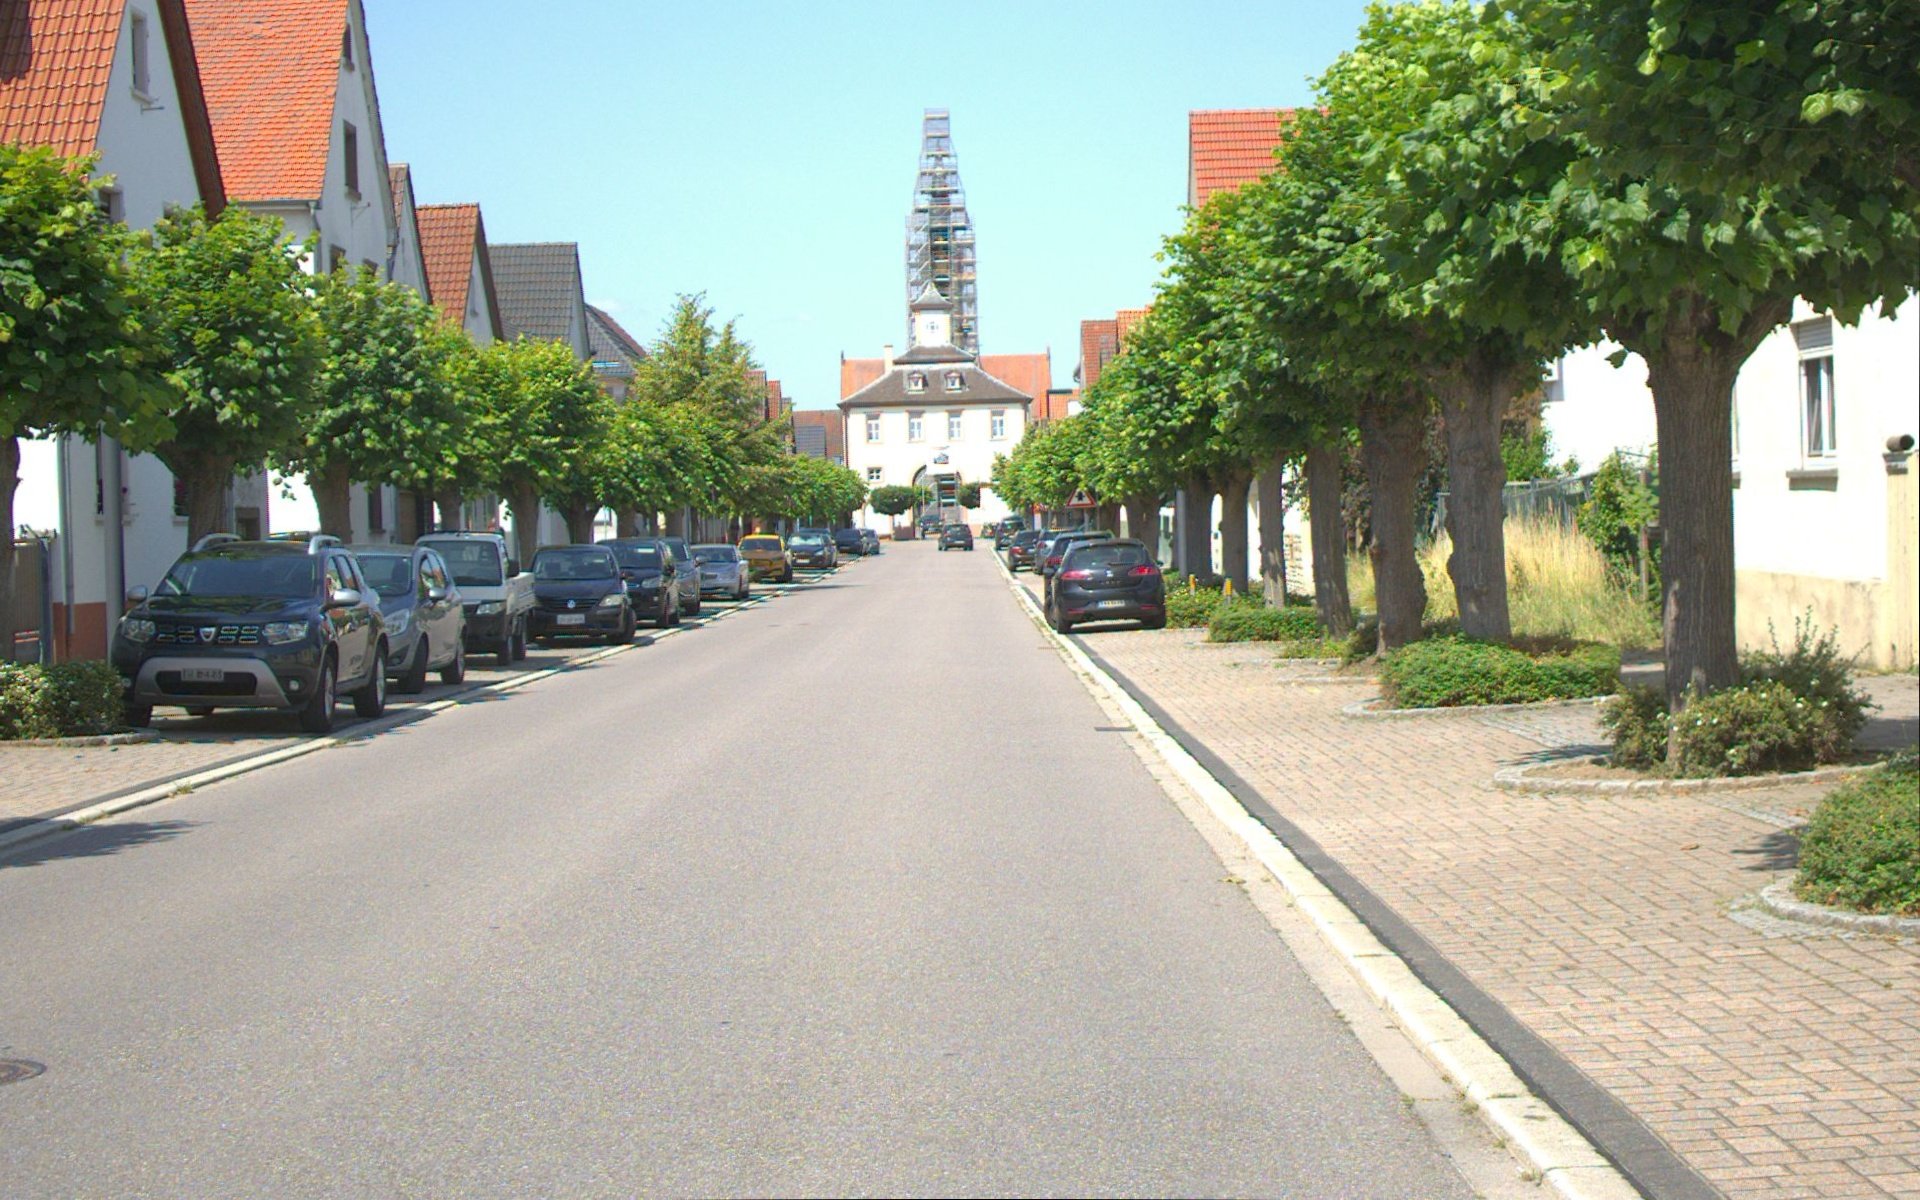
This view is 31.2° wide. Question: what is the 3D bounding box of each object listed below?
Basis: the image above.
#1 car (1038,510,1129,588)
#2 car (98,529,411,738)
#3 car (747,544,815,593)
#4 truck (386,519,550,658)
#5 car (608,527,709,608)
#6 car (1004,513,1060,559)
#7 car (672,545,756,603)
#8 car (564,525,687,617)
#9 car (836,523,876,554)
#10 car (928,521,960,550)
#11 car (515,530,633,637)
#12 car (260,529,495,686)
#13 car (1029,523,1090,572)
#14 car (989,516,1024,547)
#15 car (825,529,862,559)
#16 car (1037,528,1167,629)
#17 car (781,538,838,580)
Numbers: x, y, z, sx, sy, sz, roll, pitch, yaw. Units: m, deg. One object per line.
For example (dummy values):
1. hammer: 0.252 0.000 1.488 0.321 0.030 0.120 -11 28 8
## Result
1. car: 2.771 -1.160 76.485 1.824 1.580 4.056 -3 2 4
2. car: -6.107 0.230 30.230 1.853 1.630 4.299 1 2 0
3. car: -6.076 -1.085 117.201 1.993 1.606 4.689 0 1 1
4. truck: -6.553 -0.185 46.093 1.576 1.759 4.192 1 1 0
5. car: -6.336 -0.713 72.730 1.993 1.647 4.368 0 1 -3
6. car: 2.596 -2.335 124.564 1.837 1.550 4.314 -3 1 0
7. car: -6.208 -0.685 87.160 1.840 1.391 4.407 0 1 0
8. car: -6.129 -0.546 63.389 1.853 1.629 4.057 0 1 0
9. car: -5.651 -3.344 187.471 1.993 1.606 3.855 0 1 1
10. car: -0.892 -3.559 190.135 1.729 1.542 3.455 0 1 0
11. car: -6.094 -0.286 54.558 1.785 1.628 4.001 0 1 -5
12. car: -6.391 0.051 38.149 1.853 1.607 4.371 1 1 0
13. car: 3.377 -1.798 116.858 1.837 1.602 4.000 -1 1 -1
14. car: 2.520 -3.730 187.312 1.837 1.550 4.314 -3 1 1
15. car: -6.164 -2.967 181.738 1.757 1.550 4.020 -1 1 1
16. car: 2.234 -0.377 54.962 1.824 1.427 4.057 -3 1 0
17. car: -6.062 -1.678 138.851 1.993 1.606 4.689 0 2 1
